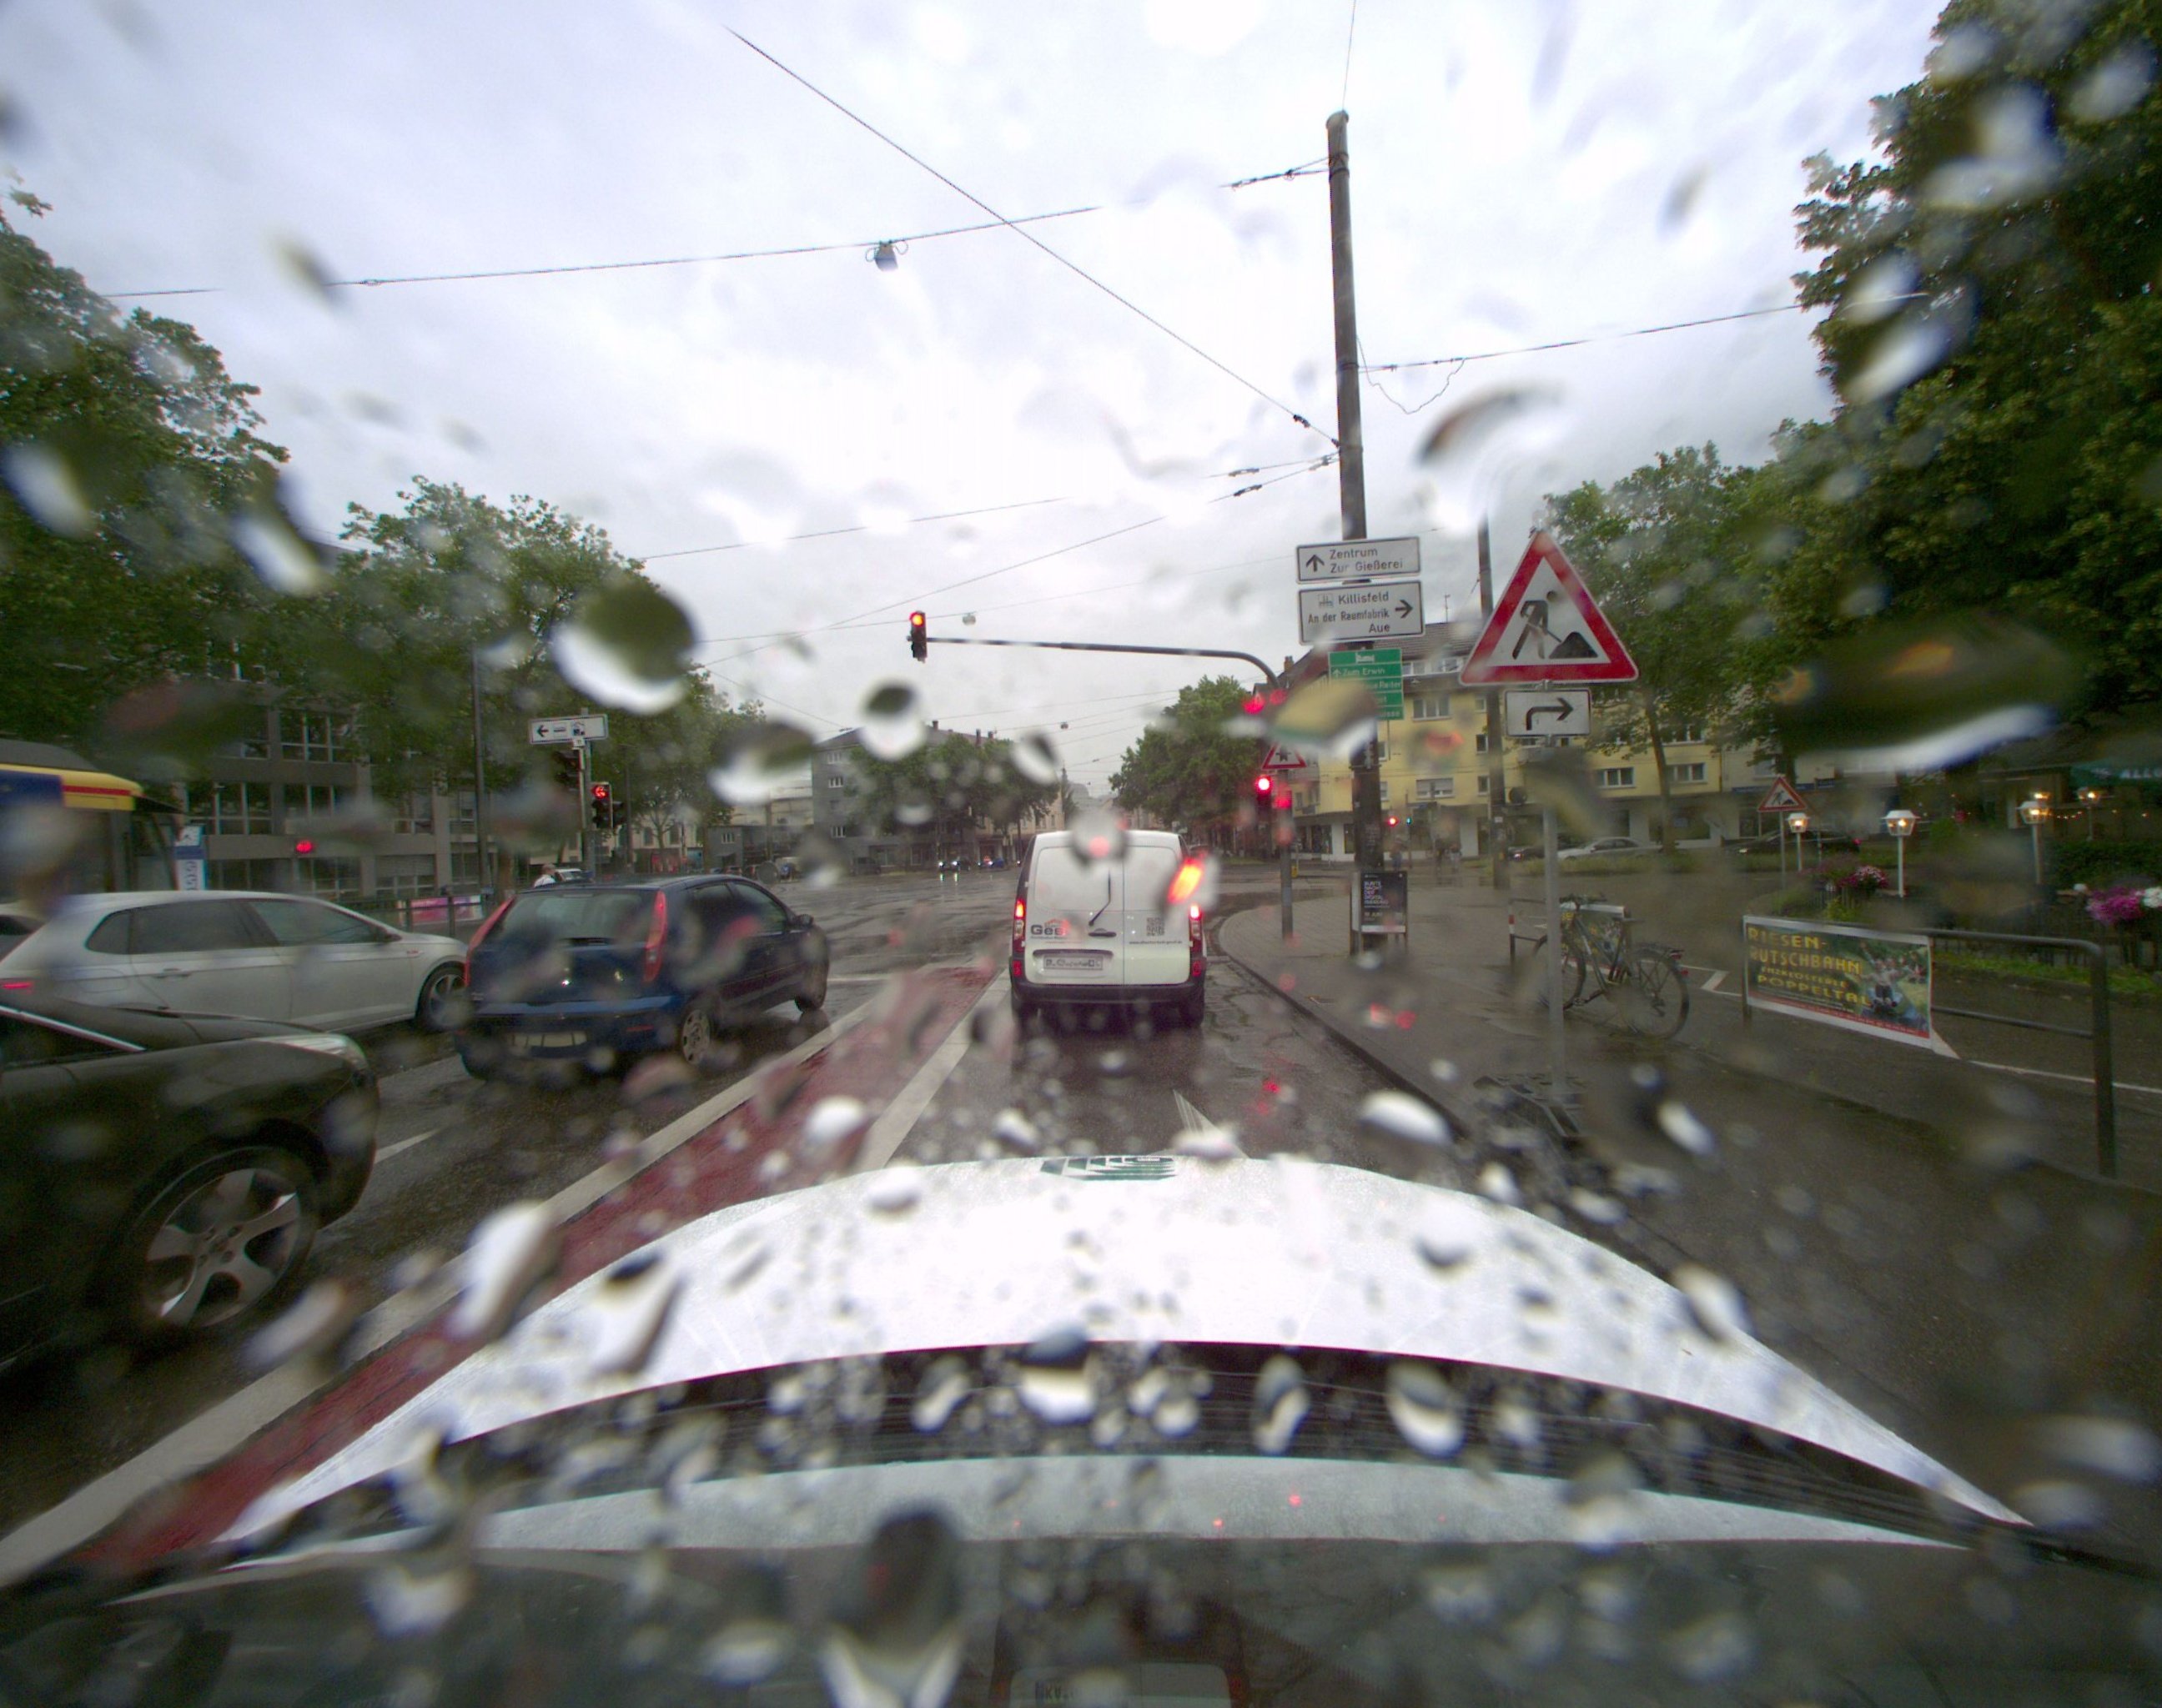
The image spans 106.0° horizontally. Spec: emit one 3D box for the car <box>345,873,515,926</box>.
[{"bbox_3d":[-18.600,1.254,23.465,1.582,1.314,3.538,-1,0,16],"label":"car"}]

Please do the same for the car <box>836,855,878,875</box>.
[{"bbox_3d":[-23.422,1.176,85.436,1.975,2.013,4.025,-1,0,29],"label":"car"}]

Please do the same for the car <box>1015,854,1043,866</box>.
[{"bbox_3d":[-6.245,0.693,98.360,1.935,1.239,4.020,-1,1,19],"label":"car"}]

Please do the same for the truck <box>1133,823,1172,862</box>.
[{"bbox_3d":[10.441,-1.552,116.756,3.446,5.087,15.359,-1,0,12],"label":"truck"}]

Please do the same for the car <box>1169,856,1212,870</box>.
[{"bbox_3d":[9.533,0.763,70.875,3.437,1.130,1.468,-1,0,-6],"label":"car"}]

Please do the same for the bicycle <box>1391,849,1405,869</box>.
[{"bbox_3d":[17.115,0.278,43.956,0.651,1.027,2.035,-1,0,22],"label":"bicycle"}]

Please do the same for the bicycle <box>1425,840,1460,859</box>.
[{"bbox_3d":[24.330,-0.292,54.837,2.085,1.261,0.534,-1,1,16],"label":"bicycle"}]

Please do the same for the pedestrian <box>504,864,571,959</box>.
[{"bbox_3d":[-9.478,0.983,14.222,0.621,1.607,0.744,-1,0,9],"label":"pedestrian"}]

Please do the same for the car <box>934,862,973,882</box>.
[{"bbox_3d":[-12.103,1.708,77.697,1.935,1.607,4.020,-2,1,19],"label":"car"}]

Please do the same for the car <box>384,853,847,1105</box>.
[{"bbox_3d":[-3.516,0.801,7.091,1.720,1.578,3.822,-1,0,2],"label":"car"}]

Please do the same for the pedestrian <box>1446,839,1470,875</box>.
[{"bbox_3d":[17.572,0.146,37.958,0.896,1.669,1.026,-1,0,28],"label":"pedestrian"}]

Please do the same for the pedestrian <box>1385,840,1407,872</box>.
[{"bbox_3d":[15.070,0.100,38.993,0.820,1.534,0.616,-1,-1,-37],"label":"pedestrian"}]

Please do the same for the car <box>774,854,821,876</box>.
[{"bbox_3d":[-30.753,1.146,88.395,1.975,2.198,4.816,0,2,25],"label":"car"}]

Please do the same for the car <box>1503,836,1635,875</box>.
[{"bbox_3d":[22.857,0.113,38.352,4.902,1.643,2.007,-1,-3,14],"label":"car"}]

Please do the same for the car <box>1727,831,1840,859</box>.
[{"bbox_3d":[29.279,-0.372,34.013,3.511,1.082,1.248,-1,0,4],"label":"car"}]

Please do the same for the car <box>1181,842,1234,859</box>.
[{"bbox_3d":[10.687,-0.316,68.846,4.160,1.339,1.518,-2,1,-6],"label":"car"}]

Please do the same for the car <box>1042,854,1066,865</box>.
[{"bbox_3d":[-3.556,0.676,108.157,1.935,1.239,4.020,-1,1,19],"label":"car"}]

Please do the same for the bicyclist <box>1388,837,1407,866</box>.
[{"bbox_3d":[17.130,-0.139,44.060,0.925,1.547,1.075,-1,0,22],"label":"bicyclist"}]

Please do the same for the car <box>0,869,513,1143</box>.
[{"bbox_3d":[-6.752,0.912,6.541,1.623,1.494,3.783,-1,0,2],"label":"car"}]

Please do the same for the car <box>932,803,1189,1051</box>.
[{"bbox_3d":[-0.092,0.631,9.269,2.092,2.012,4.965,-2,-1,2],"label":"car"}]

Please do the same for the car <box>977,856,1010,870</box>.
[{"bbox_3d":[-9.397,0.970,87.775,1.935,1.239,4.020,-1,1,19],"label":"car"}]

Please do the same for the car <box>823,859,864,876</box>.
[{"bbox_3d":[-25.418,1.425,87.275,1.975,1.530,4.025,-1,1,29],"label":"car"}]

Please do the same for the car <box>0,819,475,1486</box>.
[{"bbox_3d":[-3.648,0.760,1.499,1.827,1.668,4.174,-1,0,2],"label":"car"}]

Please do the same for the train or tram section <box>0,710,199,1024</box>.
[{"bbox_3d":[-13.674,0.133,3.068,3.528,3.413,15.508,0,0,1],"label":"train or tram section"}]

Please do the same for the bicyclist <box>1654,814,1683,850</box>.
[{"bbox_3d":[27.364,-1.021,37.955,0.810,1.615,0.712,-1,0,3],"label":"bicyclist"}]

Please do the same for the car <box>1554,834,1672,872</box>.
[{"bbox_3d":[22.868,-0.049,35.172,3.906,1.490,1.815,-1,1,17],"label":"car"}]

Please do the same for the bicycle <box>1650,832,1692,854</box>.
[{"bbox_3d":[27.495,-0.520,37.939,1.631,1.002,0.422,-1,0,2],"label":"bicycle"}]

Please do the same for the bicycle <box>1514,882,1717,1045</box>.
[{"bbox_3d":[4.486,0.843,7.027,0.512,1.107,2.018,1,0,3],"label":"bicycle"}]

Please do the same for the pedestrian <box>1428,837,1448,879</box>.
[{"bbox_3d":[17.042,0.190,38.864,0.787,2.014,0.865,-1,-1,27],"label":"pedestrian"}]

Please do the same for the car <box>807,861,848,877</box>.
[{"bbox_3d":[-27.524,1.598,88.468,1.935,1.496,4.025,-1,1,29],"label":"car"}]
